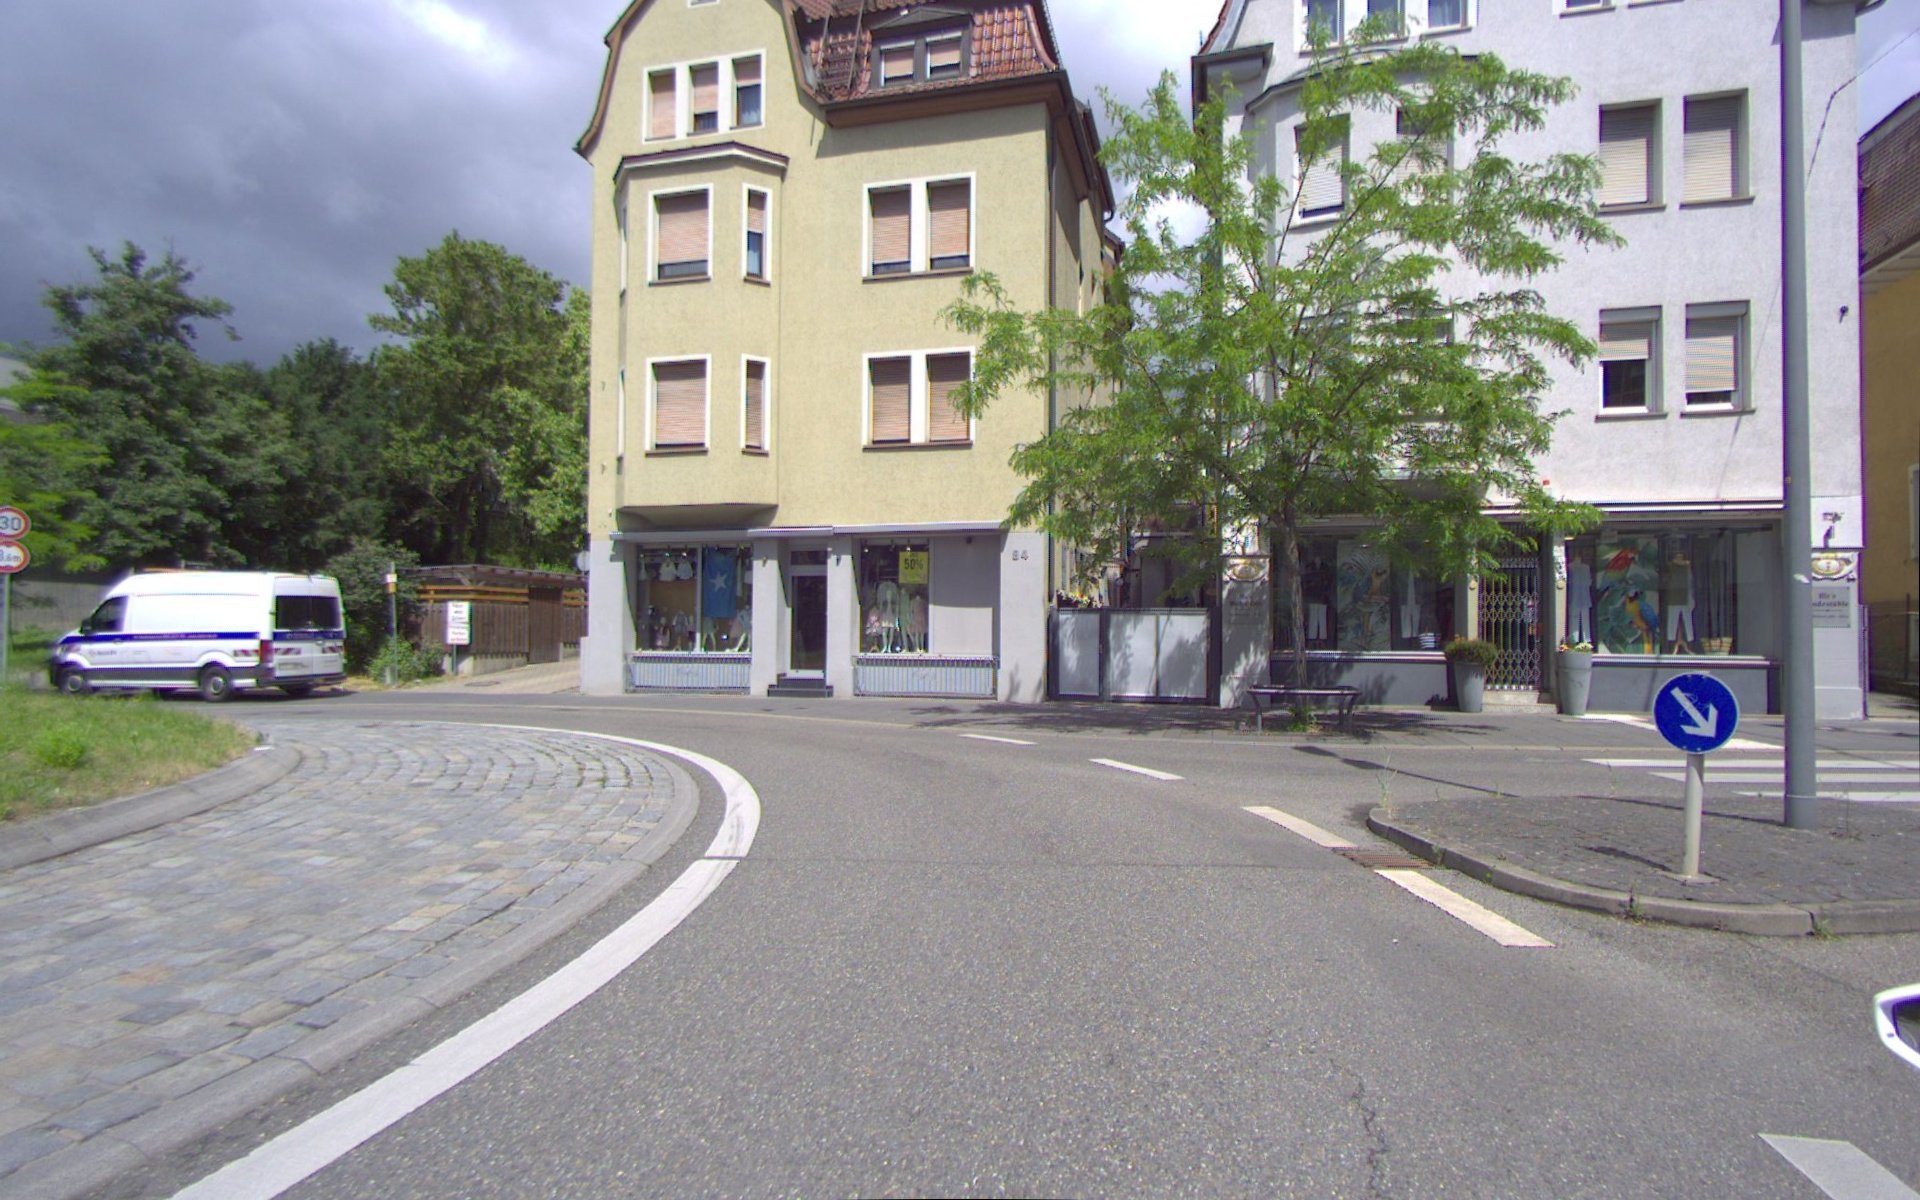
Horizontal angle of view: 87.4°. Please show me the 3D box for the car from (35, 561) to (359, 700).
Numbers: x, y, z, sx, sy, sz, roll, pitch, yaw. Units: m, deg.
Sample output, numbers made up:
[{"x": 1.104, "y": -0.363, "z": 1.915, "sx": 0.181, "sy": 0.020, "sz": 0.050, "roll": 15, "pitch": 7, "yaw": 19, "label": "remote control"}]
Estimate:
[{"x": -15.629, "y": 0.611, "z": 20.649, "sx": 5.810, "sy": 2.641, "sz": 1.975, "roll": -1, "pitch": -1, "yaw": 12, "label": "car"}]
